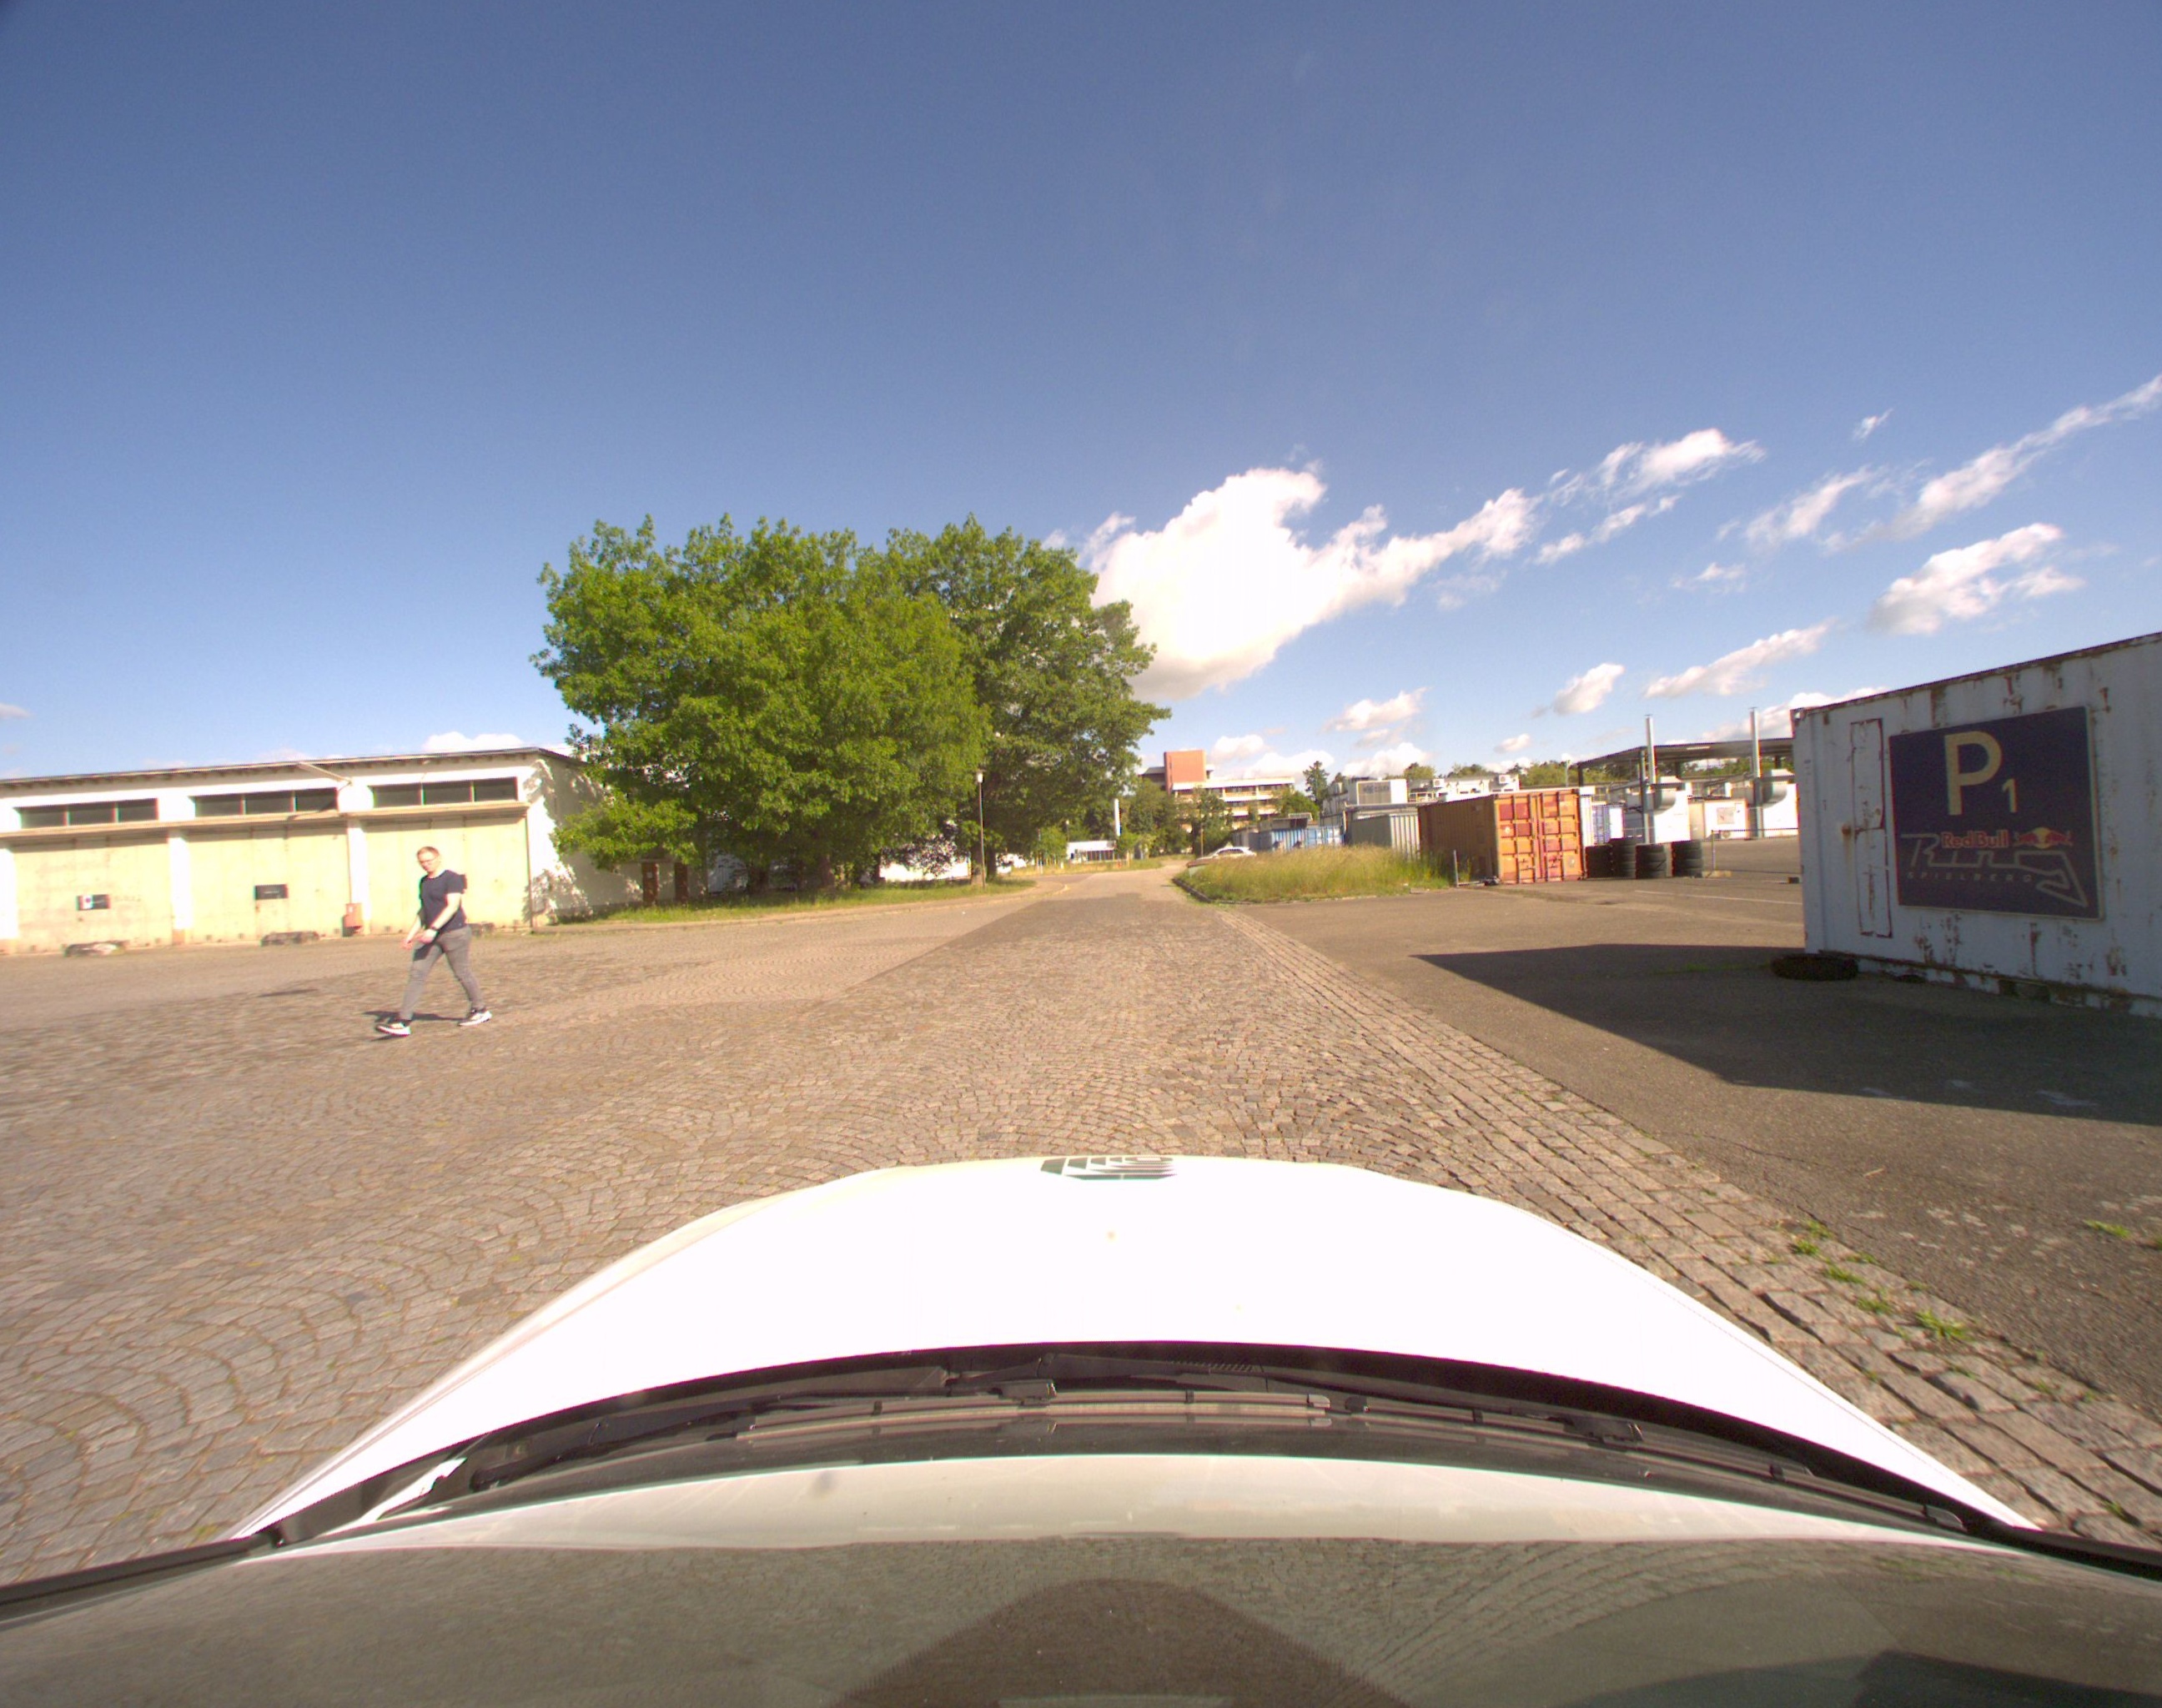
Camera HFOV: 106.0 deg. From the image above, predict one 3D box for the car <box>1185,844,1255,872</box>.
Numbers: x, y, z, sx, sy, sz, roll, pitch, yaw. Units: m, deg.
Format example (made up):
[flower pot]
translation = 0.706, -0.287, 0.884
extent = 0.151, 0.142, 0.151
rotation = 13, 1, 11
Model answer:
[car]
translation = 9.583, 0.265, 56.454
extent = 4.569, 1.677, 1.876
rotation = -3, 0, 3

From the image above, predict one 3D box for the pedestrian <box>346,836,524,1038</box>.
[pedestrian]
translation = -6.649, 0.807, 8.454
extent = 0.794, 1.914, 1.144
rotation = -3, 0, 4
